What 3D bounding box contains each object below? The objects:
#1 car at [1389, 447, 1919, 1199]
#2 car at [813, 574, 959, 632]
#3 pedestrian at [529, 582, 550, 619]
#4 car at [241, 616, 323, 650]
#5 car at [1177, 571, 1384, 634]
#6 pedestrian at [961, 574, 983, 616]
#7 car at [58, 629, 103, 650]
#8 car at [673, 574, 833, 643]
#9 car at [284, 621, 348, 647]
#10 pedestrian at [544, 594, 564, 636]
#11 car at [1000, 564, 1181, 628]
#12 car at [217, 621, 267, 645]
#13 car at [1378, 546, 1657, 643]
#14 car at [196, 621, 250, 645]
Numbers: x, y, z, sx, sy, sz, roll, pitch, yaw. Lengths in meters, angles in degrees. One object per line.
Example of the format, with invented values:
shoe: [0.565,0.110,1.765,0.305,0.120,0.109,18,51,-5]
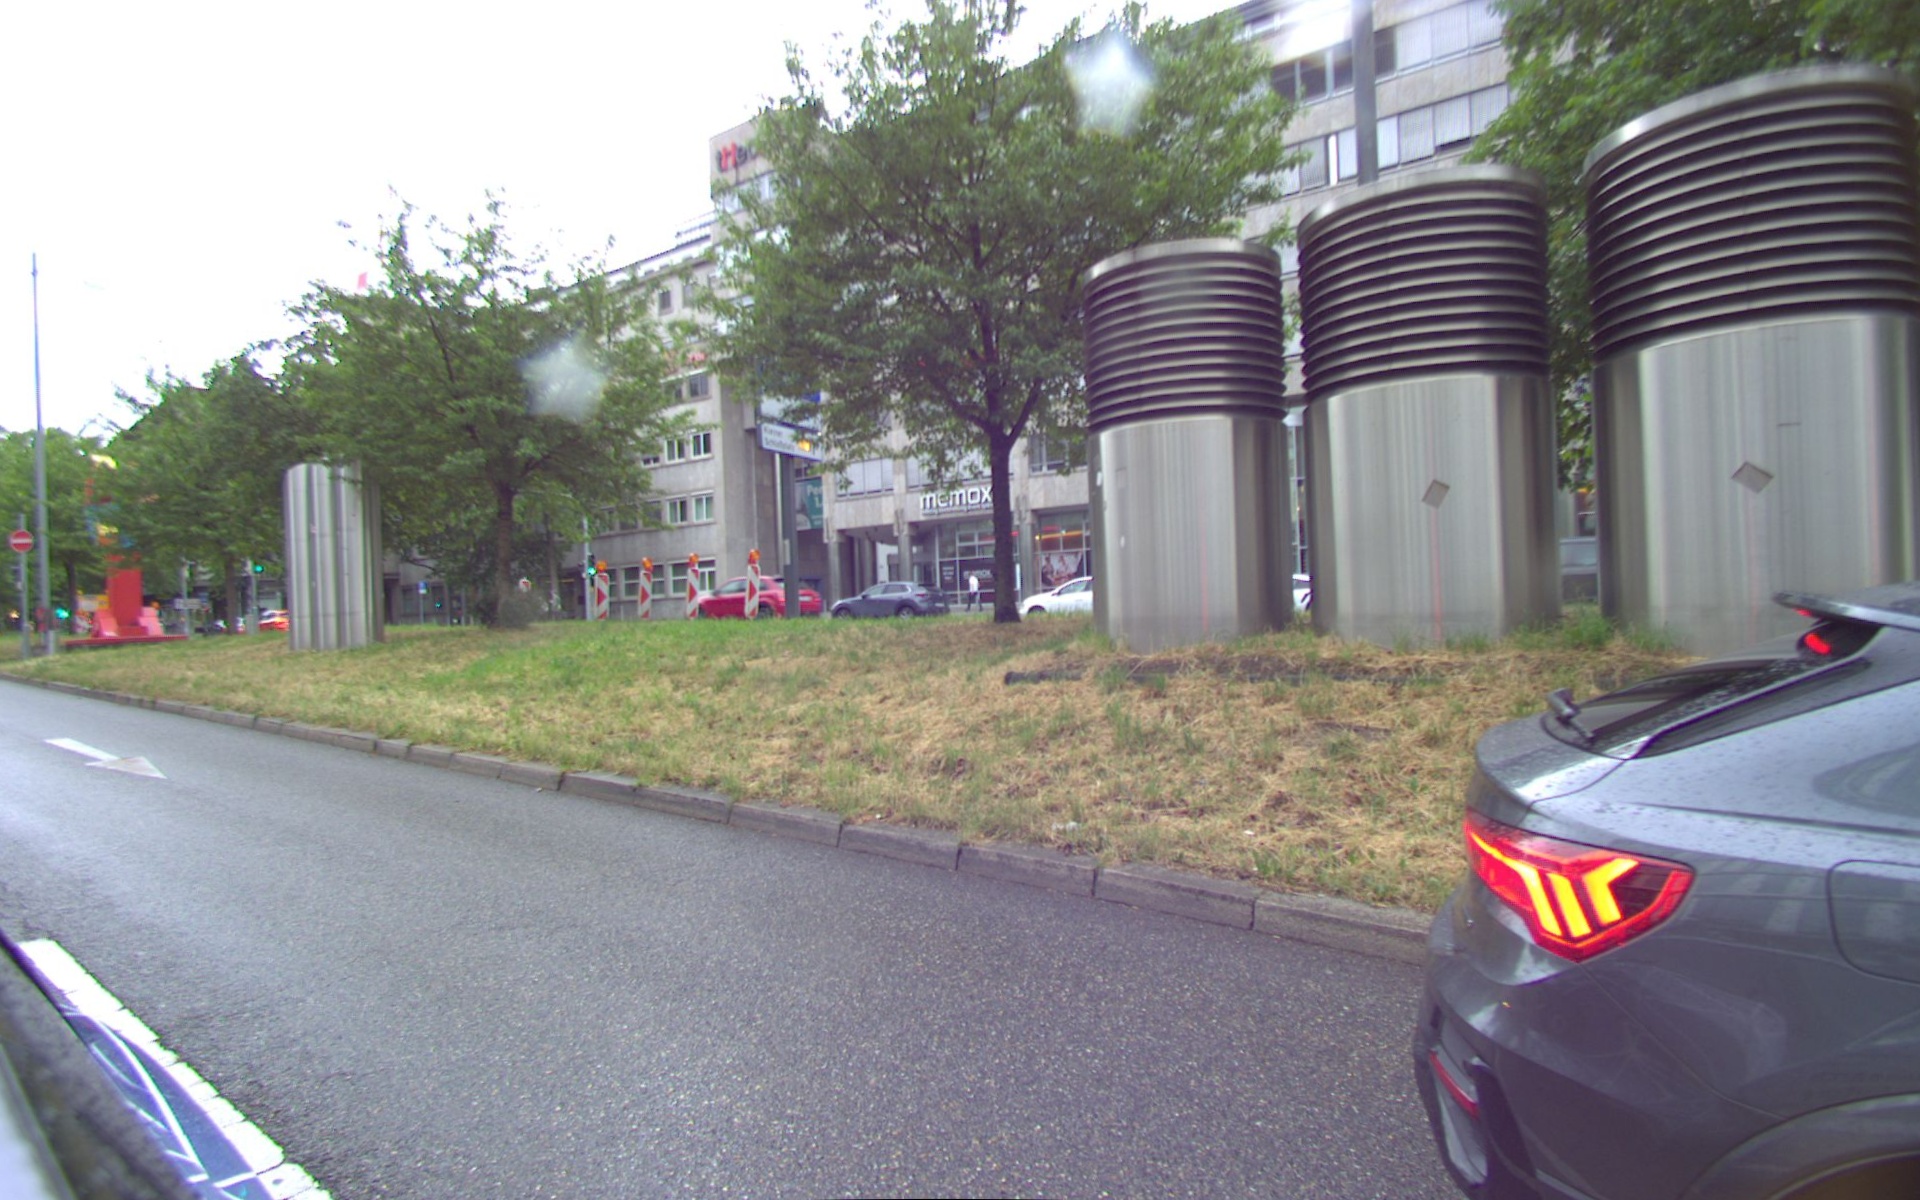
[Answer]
car: [2.910,0.557,0.958,4.246,1.628,1.830,-2,0,38]
car: [-2.498,0.134,33.545,4.785,1.738,1.844,-2,2,38]
pedestrian: [-18.969,0.021,45.616,0.619,1.641,0.599,-2,0,41]
car: [-30.898,1.503,46.119,4.125,1.440,1.845,-2,-1,37]
car: [8.085,0.097,25.779,4.677,1.412,1.759,-2,-1,38]
pedestrian: [0.518,-0.198,44.295,0.709,1.801,0.530,-2,0,-35]
car: [-62.000,2.776,71.330,3.996,1.425,1.771,-3,-2,40]
car: [-5.615,0.236,27.368,3.987,1.713,1.930,-2,0,33]
car: [-38.546,2.059,60.533,4.559,1.440,1.844,-2,-1,38]
pedestrian: [-18.122,0.672,45.183,0.721,1.801,0.522,-2,0,42]
car: [3.675,-0.077,29.044,4.905,1.634,1.759,-2,-1,38]
car: [-47.026,2.164,66.240,3.687,1.514,1.670,-2,-1,38]
car: [9.531,-0.053,17.476,3.987,1.486,1.853,-2,0,33]
car: [-50.449,2.272,69.249,4.568,1.498,1.769,-2,-1,38]
